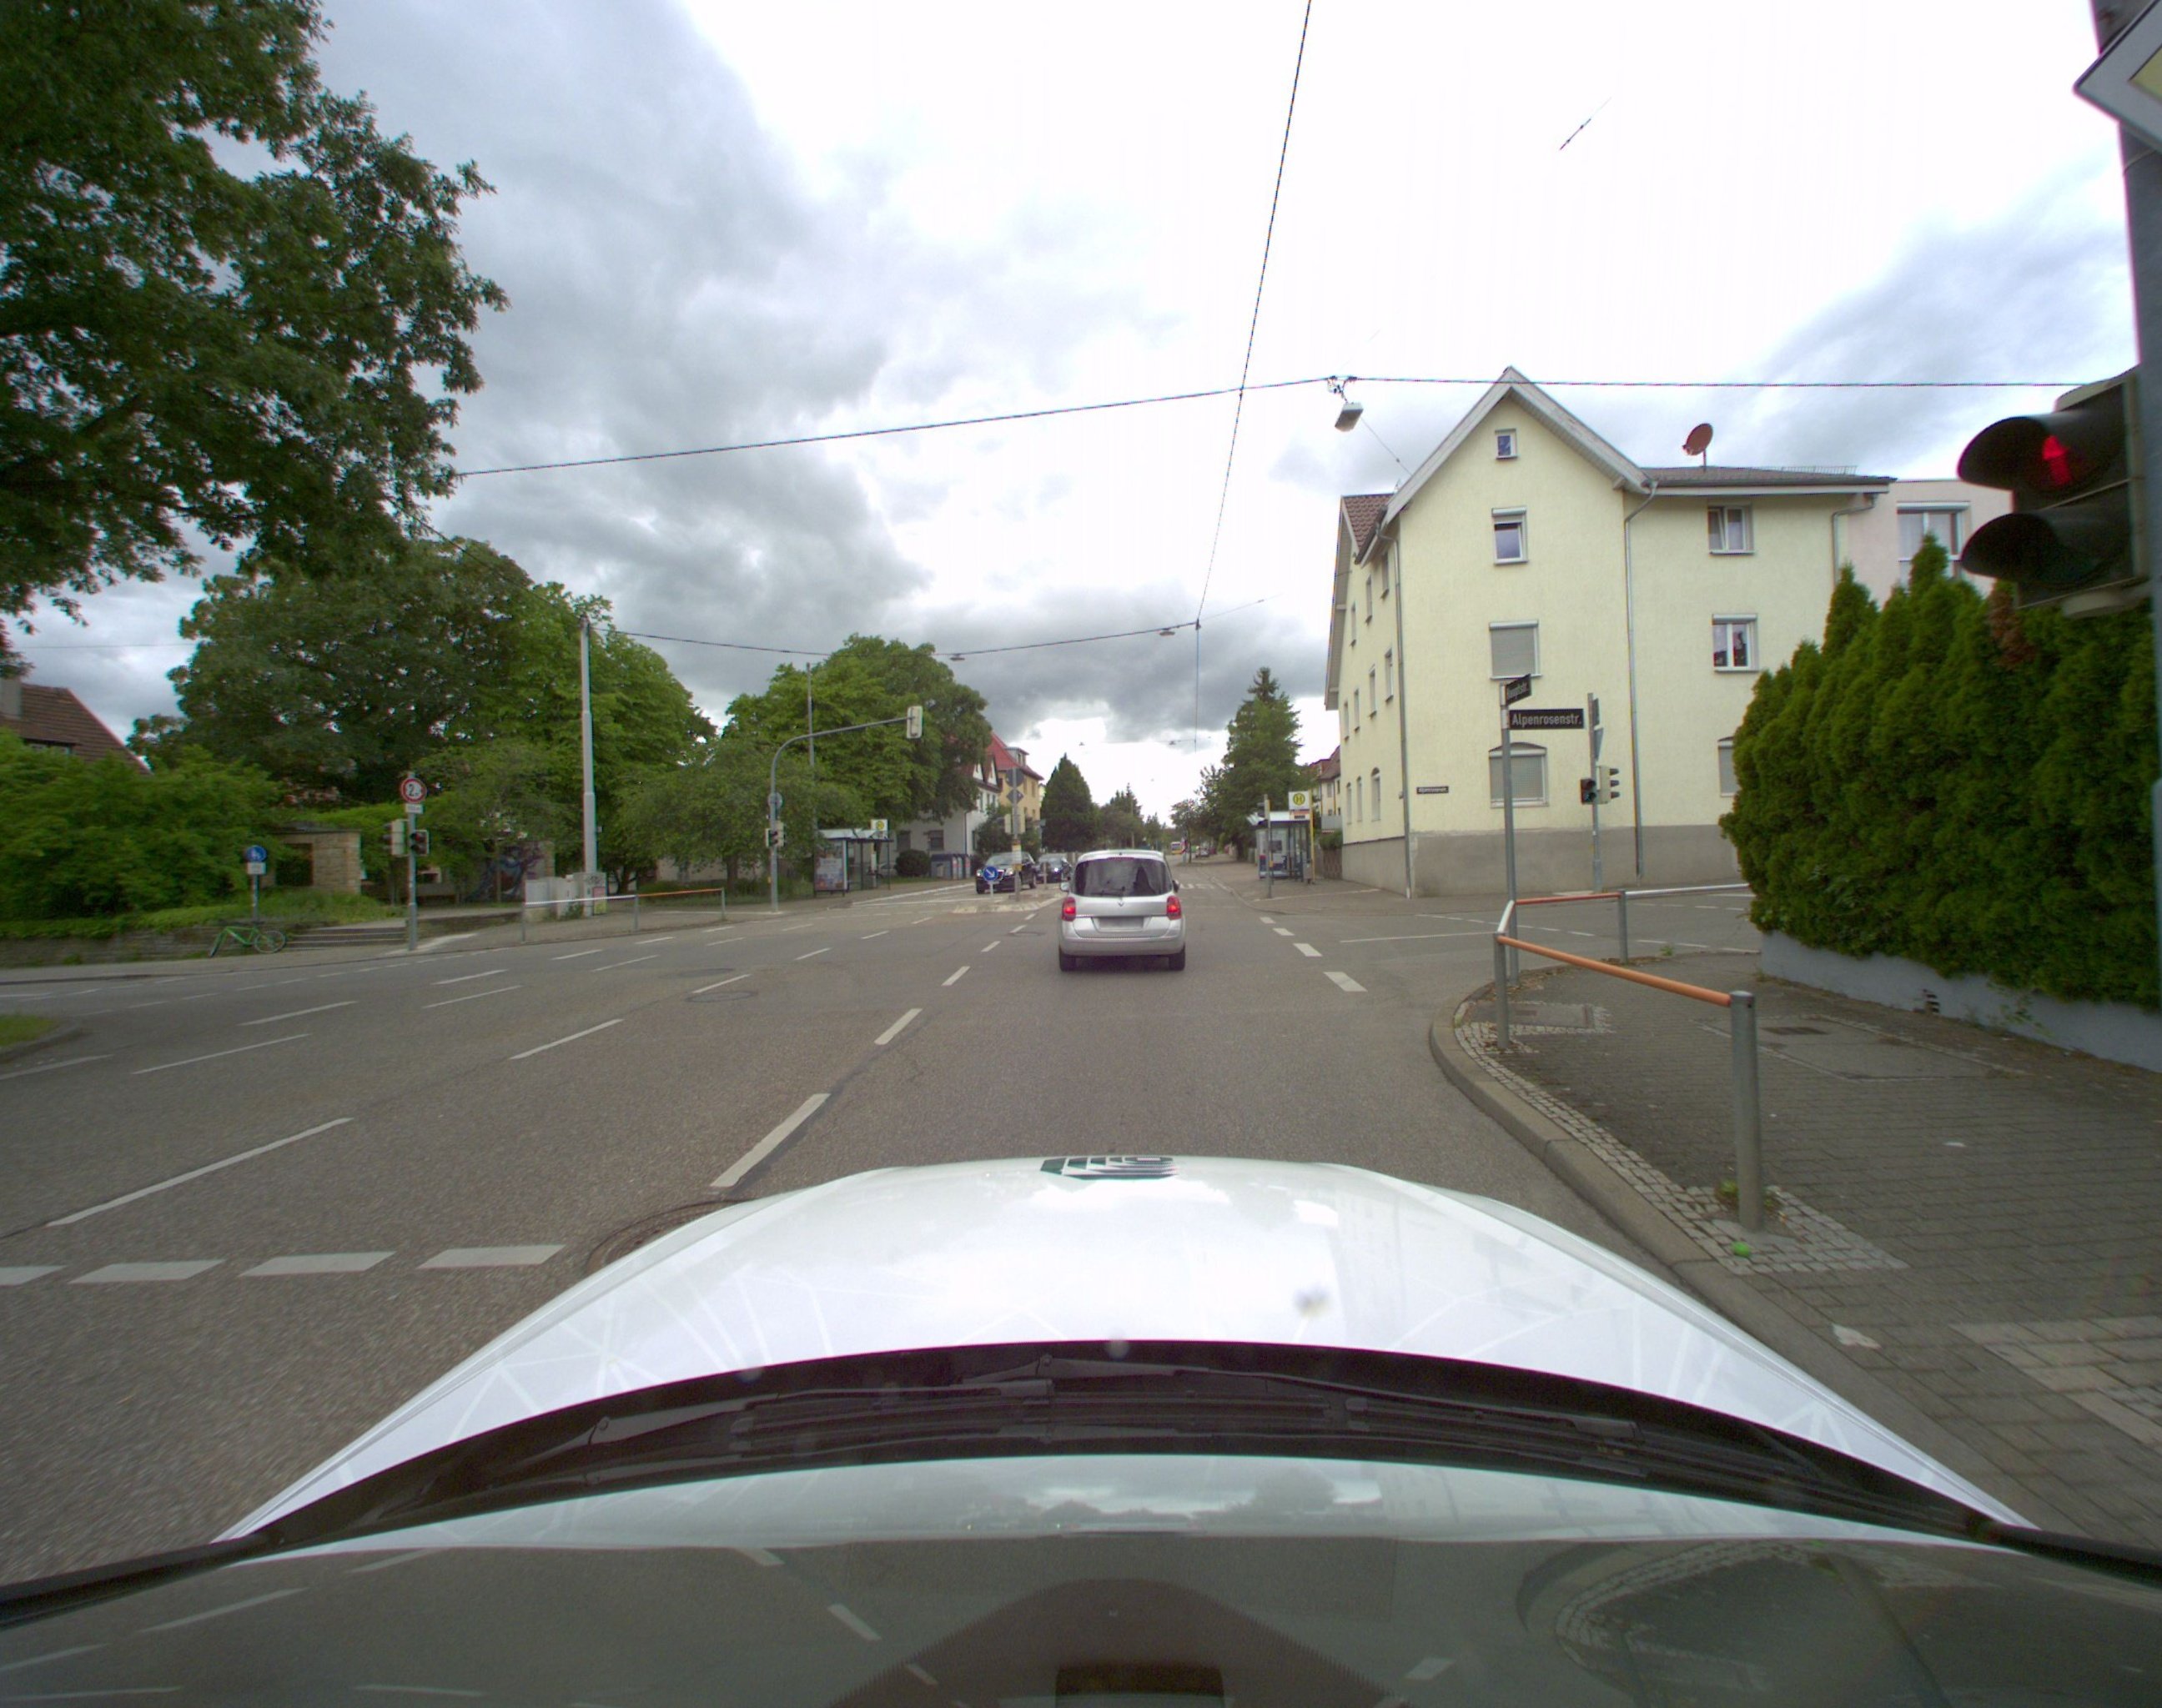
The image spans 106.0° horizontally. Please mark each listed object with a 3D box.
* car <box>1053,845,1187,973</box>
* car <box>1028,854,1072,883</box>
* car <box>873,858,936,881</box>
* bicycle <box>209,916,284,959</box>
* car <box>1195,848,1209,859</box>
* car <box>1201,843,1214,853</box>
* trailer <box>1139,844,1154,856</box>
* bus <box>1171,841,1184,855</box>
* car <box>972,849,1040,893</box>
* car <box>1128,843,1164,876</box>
[{"bbox_3d":[0.545,0.697,12.058,1.624,1.557,4.001,-1,-1,2],"label":"car"},{"bbox_3d":[-1.609,0.758,44.014,1.555,1.420,4.140,-2,-1,8],"label":"car"},{"bbox_3d":[-12.583,1.075,58.094,3.965,1.332,1.726,-4,-1,7],"label":"car"},{"bbox_3d":[-21.765,2.170,21.261,1.313,0.942,0.424,-5,0,-9],"label":"bicycle"},{"bbox_3d":[15.706,-0.083,105.408,1.640,1.382,4.011,-2,-1,10],"label":"car"},{"bbox_3d":[19.319,-0.883,124.385,1.651,1.393,3.680,-2,0,12],"label":"car"},{"bbox_3d":[11.768,-0.666,146.496,2.299,2.087,5.886,-1,-1,8],"label":"trailer"},{"bbox_3d":[24.561,-1.532,206.916,2.617,3.086,12.099,-4,0,8],"label":"bus"},{"bbox_3d":[-3.137,0.705,35.209,1.748,1.635,4.606,-4,-1,9],"label":"car"},{"bbox_3d":[3.524,0.268,44.753,1.821,1.675,3.577,-2,0,3],"label":"car"}]
